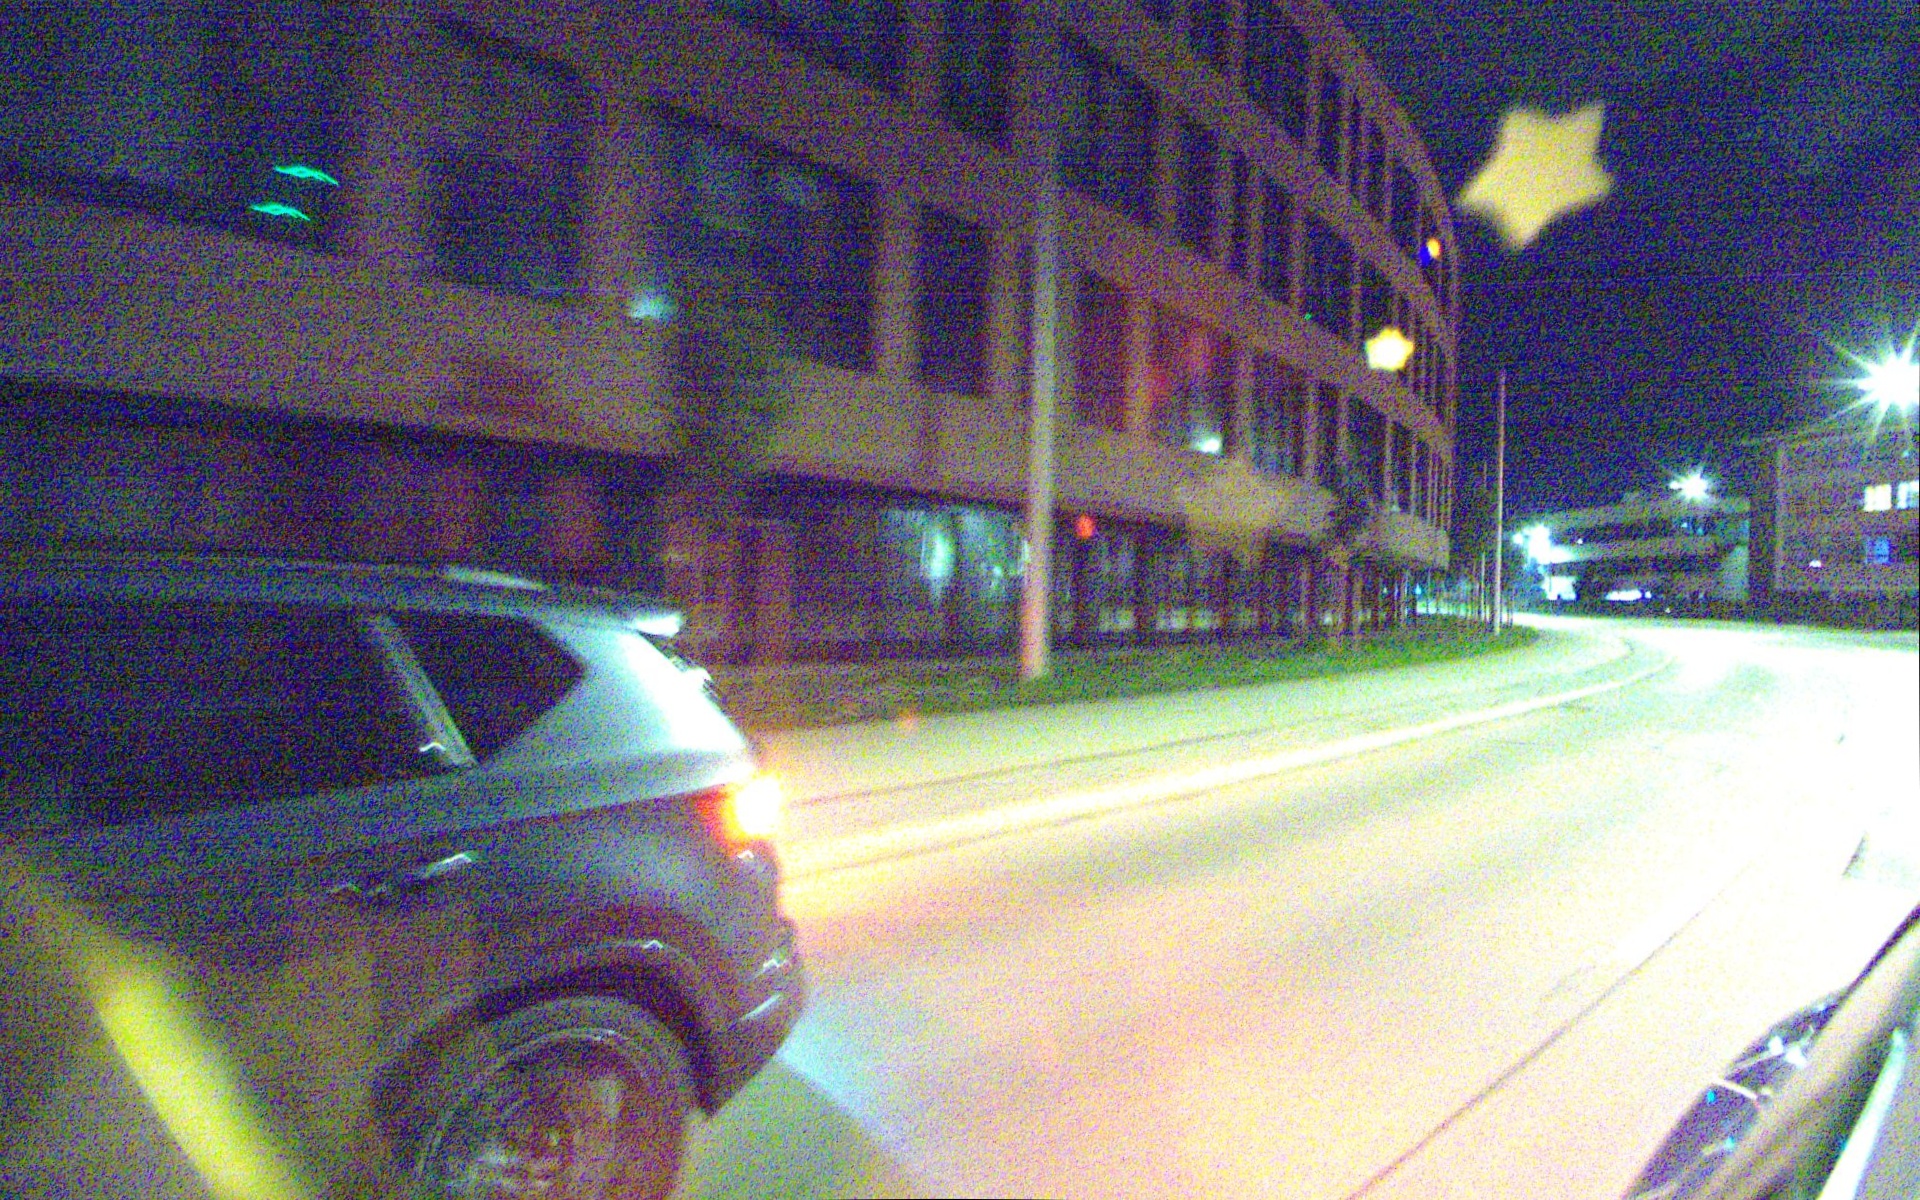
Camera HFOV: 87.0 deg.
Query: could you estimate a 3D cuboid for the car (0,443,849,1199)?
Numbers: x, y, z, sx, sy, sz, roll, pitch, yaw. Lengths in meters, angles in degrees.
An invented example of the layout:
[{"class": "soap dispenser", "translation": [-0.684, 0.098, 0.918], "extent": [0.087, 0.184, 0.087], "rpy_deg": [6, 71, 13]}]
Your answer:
[{"class": "car", "translation": [-2.379, 0.595, 1.729], "extent": [4.156, 1.631, 1.673], "rpy_deg": [-1, 0, -41]}]
